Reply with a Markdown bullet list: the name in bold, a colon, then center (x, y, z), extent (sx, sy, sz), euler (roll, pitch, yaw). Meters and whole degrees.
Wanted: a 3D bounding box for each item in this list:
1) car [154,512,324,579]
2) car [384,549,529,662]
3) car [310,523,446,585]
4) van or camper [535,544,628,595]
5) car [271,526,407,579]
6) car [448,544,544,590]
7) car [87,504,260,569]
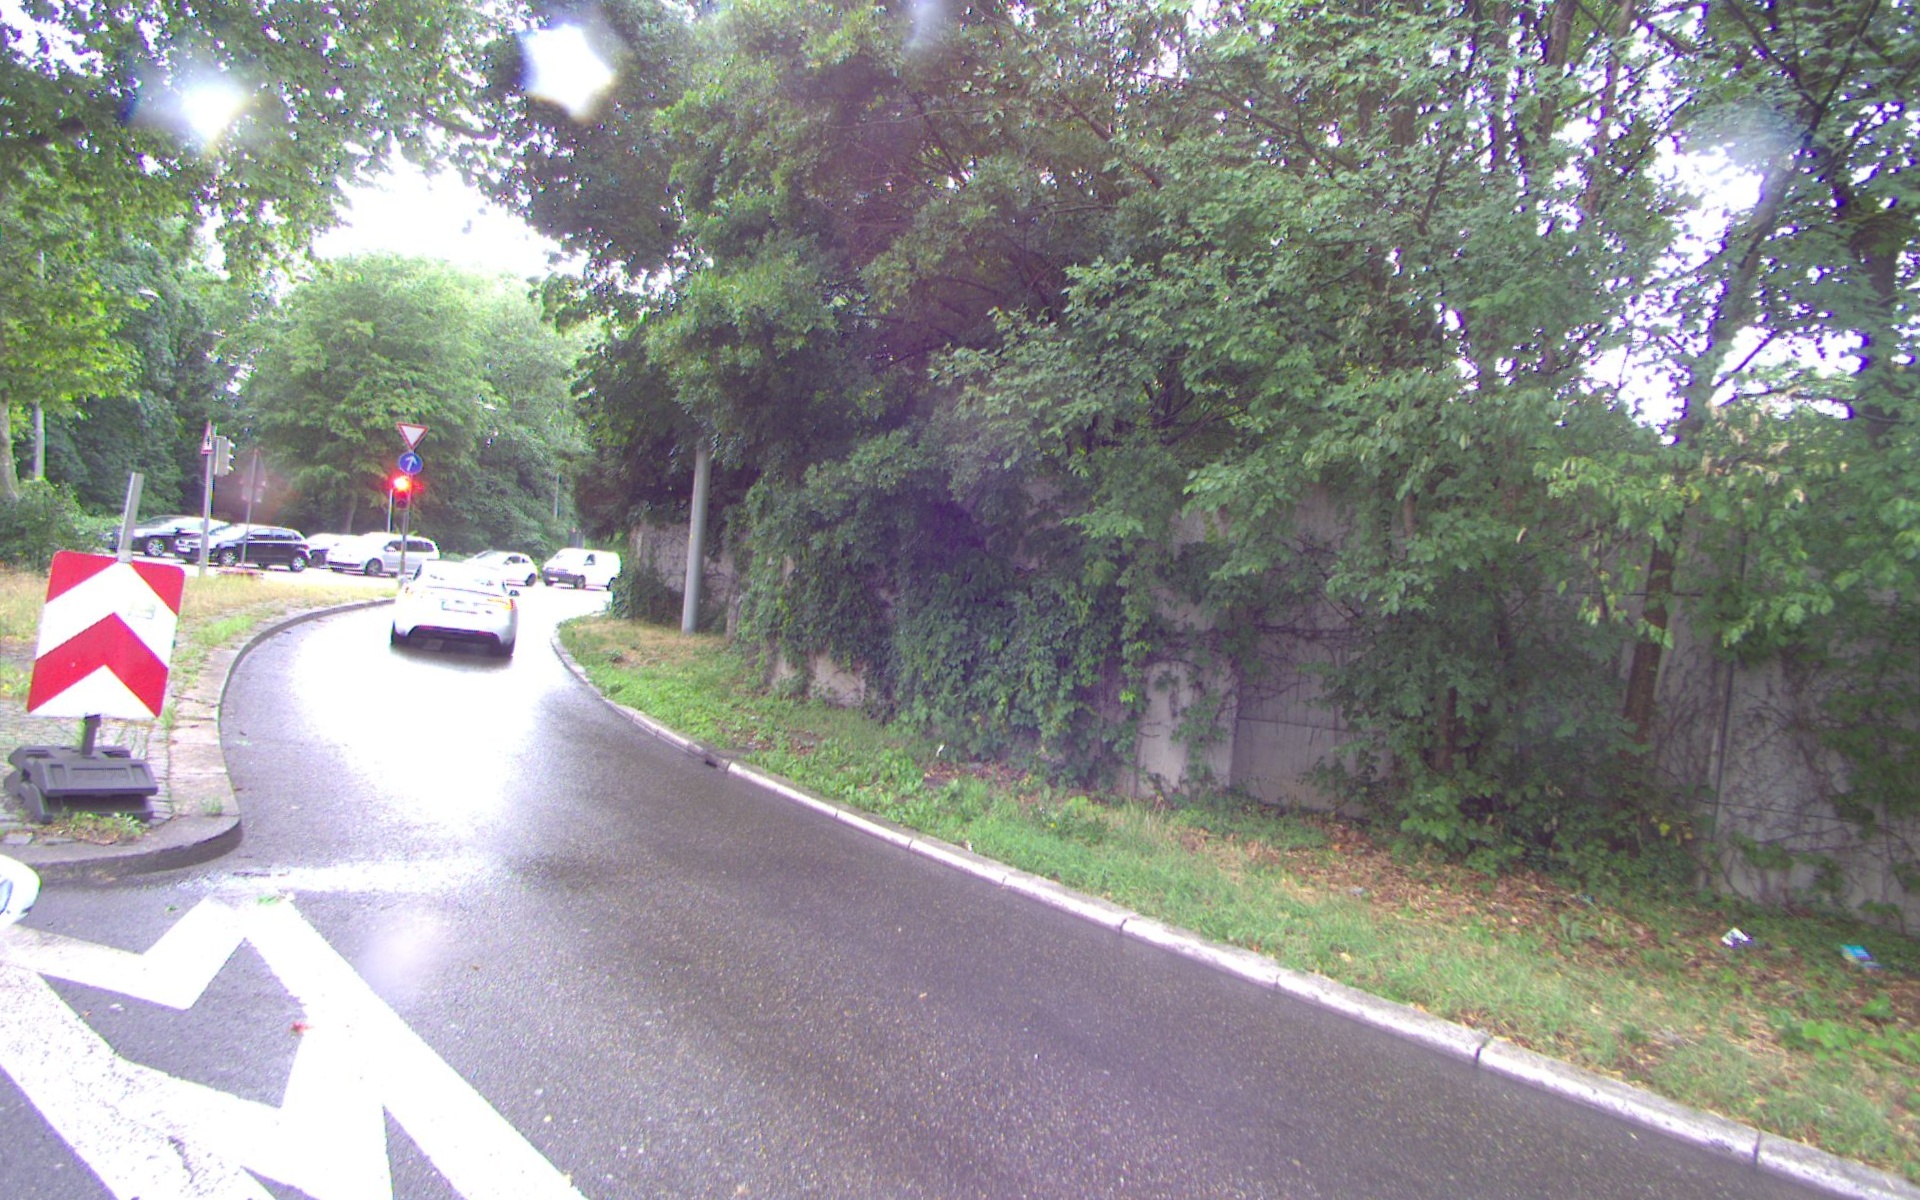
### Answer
- **car**: center (-23.304, -1.722, 32.728), extent (1.759, 1.477, 4.205), euler (7, -2, 16)
- **car**: center (-8.774, 0.039, 17.857), extent (1.837, 1.464, 4.593), euler (11, -3, -24)
- **car**: center (-22.069, -1.688, 38.325), extent (1.871, 1.699, 4.216), euler (7, -2, 16)
- **van or camper**: center (-19.048, -1.486, 50.884), extent (1.870, 1.970, 4.870), euler (7, -1, 13)
- **car**: center (-24.773, -1.867, 40.340), extent (1.795, 1.418, 4.452), euler (7, -2, 16)
- **car**: center (-20.535, -1.418, 44.684), extent (1.627, 1.478, 3.869), euler (7, -2, 16)
- **car**: center (-26.665, -2.107, 34.282), extent (1.913, 1.457, 4.218), euler (7, -2, 16)
